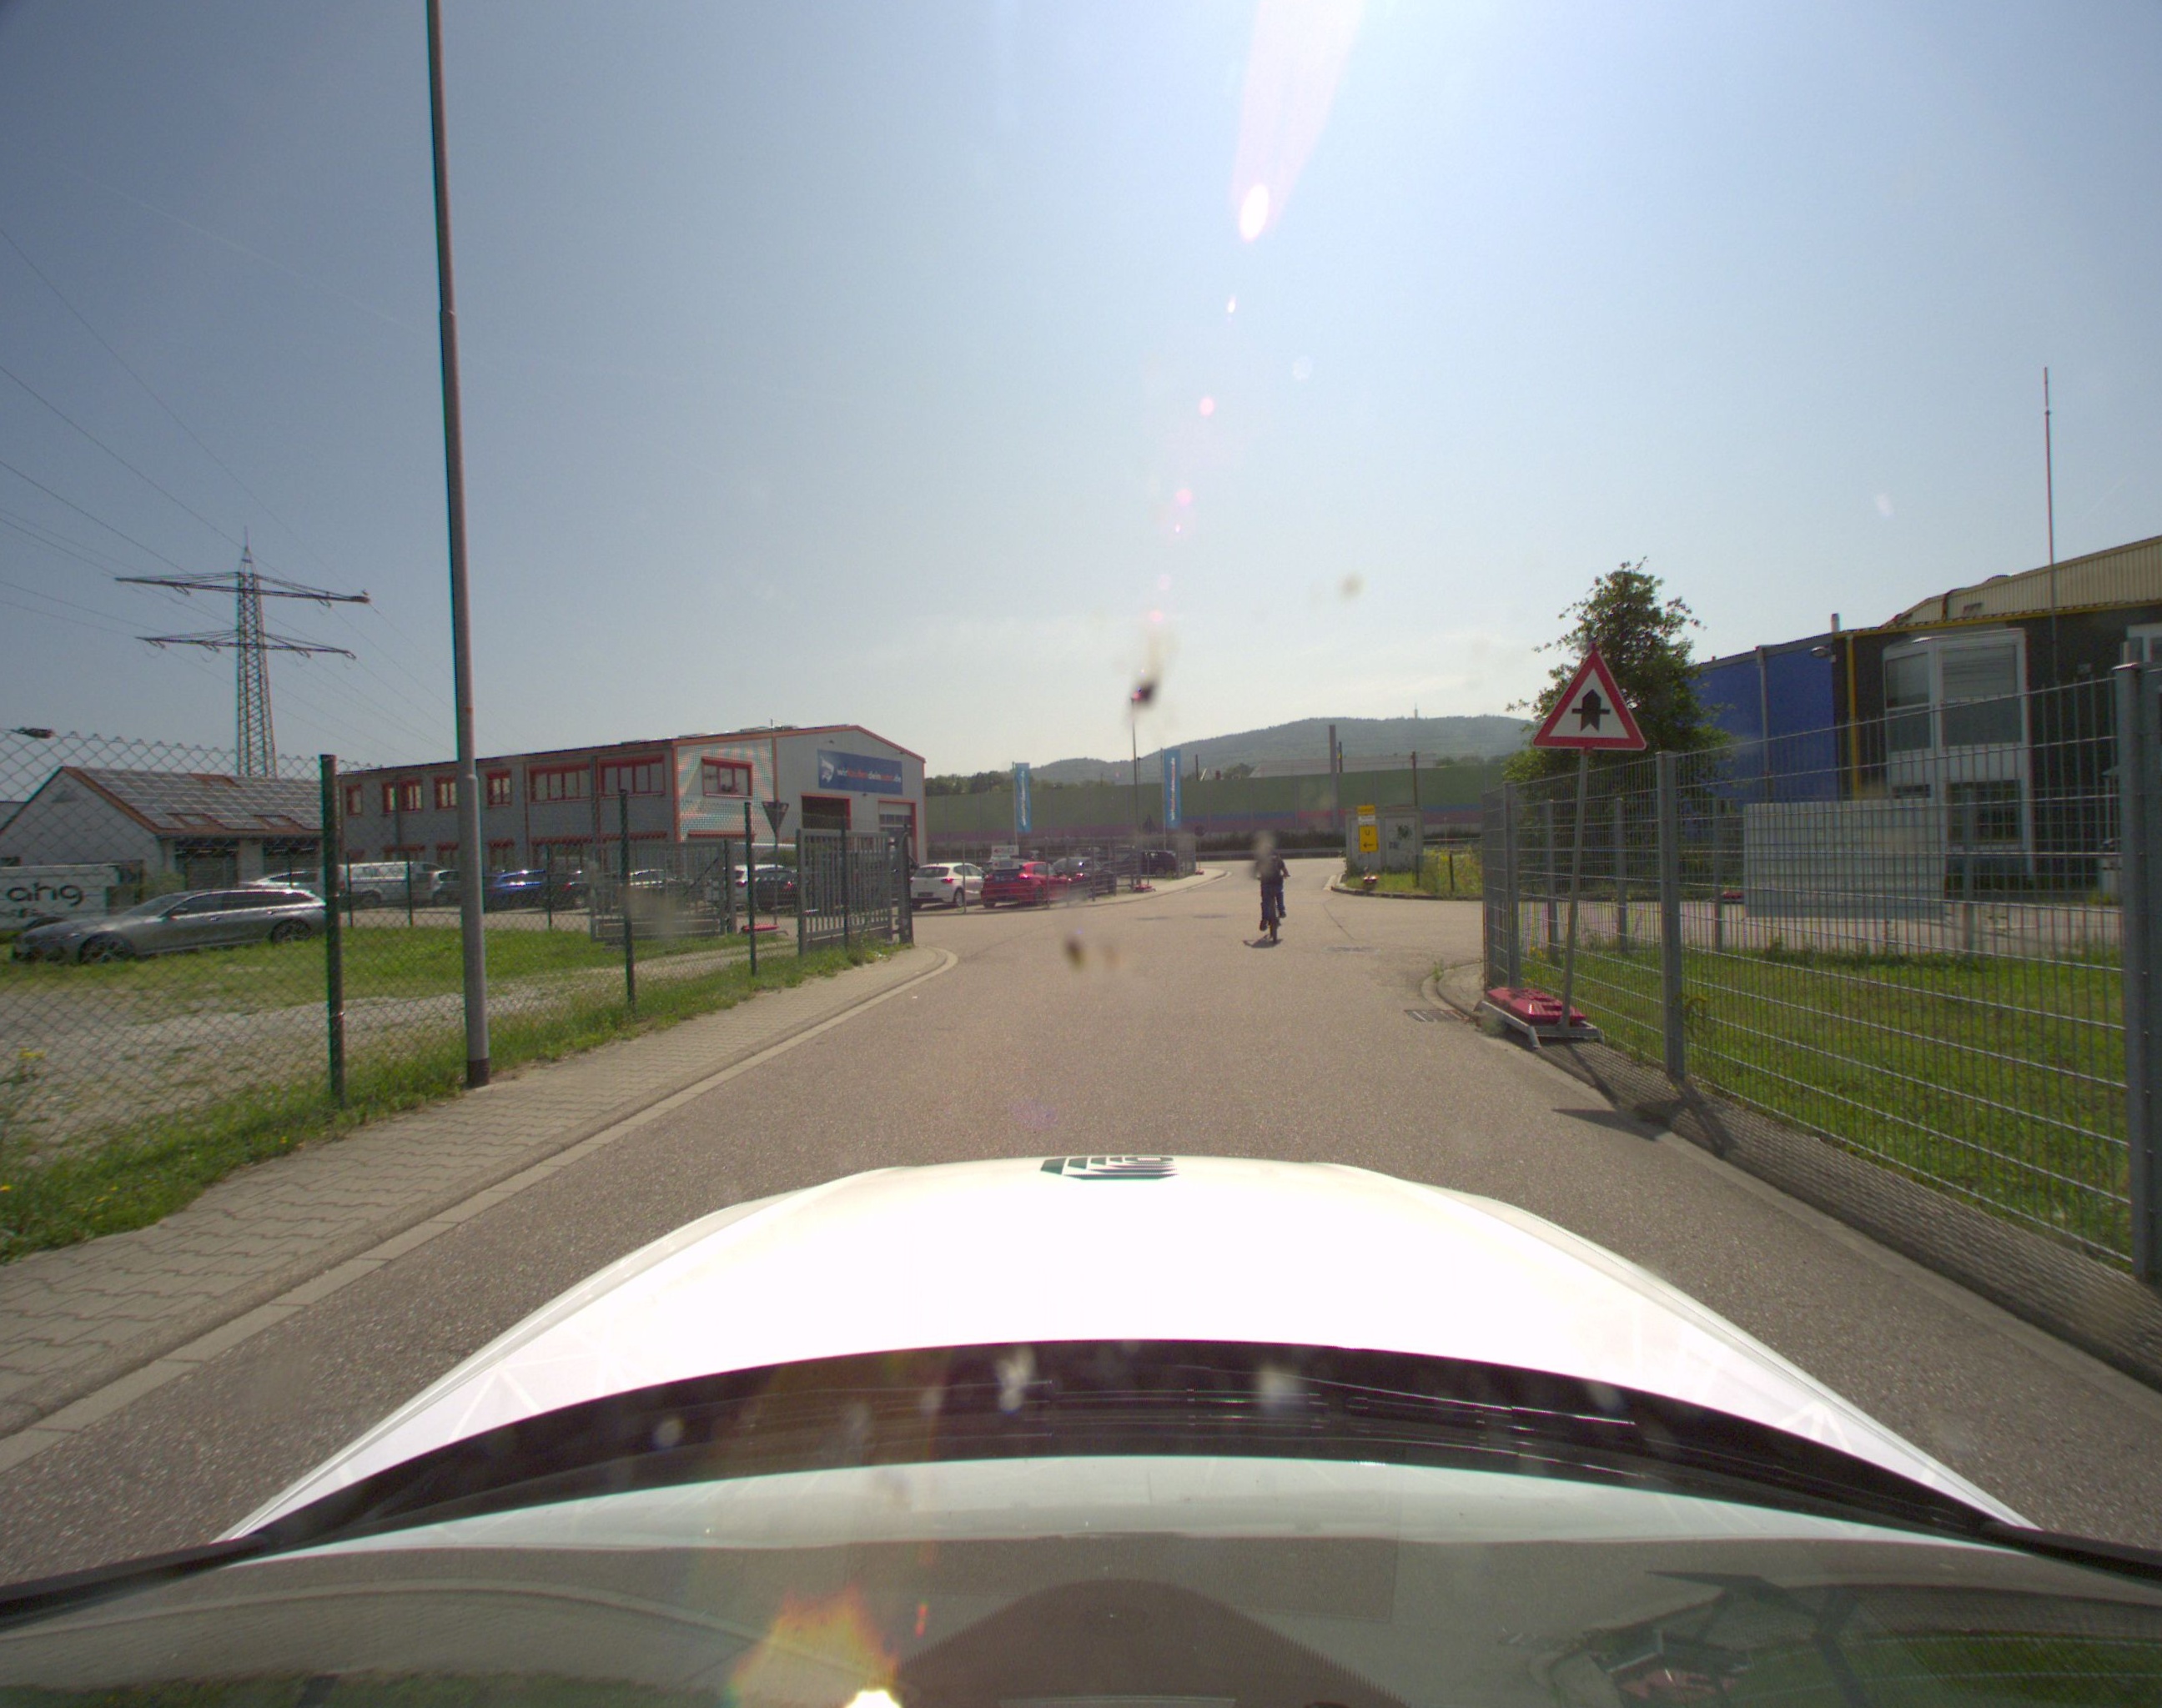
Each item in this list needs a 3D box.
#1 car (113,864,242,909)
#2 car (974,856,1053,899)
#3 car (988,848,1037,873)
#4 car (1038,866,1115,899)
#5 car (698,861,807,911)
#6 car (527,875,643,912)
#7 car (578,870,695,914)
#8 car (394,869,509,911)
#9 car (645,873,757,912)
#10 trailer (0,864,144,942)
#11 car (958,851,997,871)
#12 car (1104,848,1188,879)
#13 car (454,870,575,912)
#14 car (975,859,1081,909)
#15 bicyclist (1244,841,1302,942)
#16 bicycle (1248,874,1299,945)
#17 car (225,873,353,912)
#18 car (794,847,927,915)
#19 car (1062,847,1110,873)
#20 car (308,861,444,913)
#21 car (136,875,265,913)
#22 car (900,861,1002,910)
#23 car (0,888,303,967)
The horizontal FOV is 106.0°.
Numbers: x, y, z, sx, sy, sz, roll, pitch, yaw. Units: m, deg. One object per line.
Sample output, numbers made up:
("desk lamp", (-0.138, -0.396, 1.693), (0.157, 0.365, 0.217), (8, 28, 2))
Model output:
("car", (-44.475, 1.568, 40.193), (1.490, 2.014, 3.927), (-2, 0, 20))
("car", (-2.516, 0.856, 31.368), (1.471, 1.454, 3.914), (-2, 0, 20))
("car", (-4.817, 0.443, 58.092), (1.977, 1.581, 4.019), (-2, 0, 19))
("car", (-0.088, 1.041, 30.710), (1.471, 1.007, 4.134), (-2, 0, 20))
("car", (-11.600, 1.102, 28.964), (1.490, 1.540, 3.622), (-2, 0, 20))
("car", (-18.959, 1.482, 31.295), (1.490, 1.151, 3.622), (-2, 0, 20))
("car", (-16.206, 1.351, 29.884), (1.490, 1.381, 3.622), (-2, 0, 20))
("car", (-26.832, 1.506, 34.854), (1.490, 1.544, 3.622), (-2, 0, 20))
("car", (-13.557, 1.355, 29.267), (1.490, 1.151, 3.622), (-2, 0, 20))
("trailer", (-28.732, 1.327, 21.879), (1.692, 1.945, 4.491), (-2, 0, 36))
("car", (-9.314, 0.653, 73.565), (1.684, 1.657, 4.021), (-2, 0, 22))
("car", (3.486, 0.491, 43.291), (3.951, 1.492, 2.011), (-2, 0, 24))
("car", (-21.858, 1.398, 31.586), (1.490, 1.416, 3.622), (-2, 0, 20))
("car", (-1.616, 0.928, 26.360), (1.854, 1.386, 4.134), (-2, 0, 20))
("bicyclist", (3.207, 0.620, 13.682), (0.837, 1.618, 1.042), (-1, -1, 9))
("bicycle", (3.217, 0.900, 13.730), (0.681, 1.051, 1.906), (-2, 0, 10))
("car", (-36.333, 1.739, 37.480), (1.490, 1.516, 3.927), (-2, 0, 20))
("car", (-7.224, 0.827, 27.242), (1.934, 2.030, 4.541), (-2, 0, 20))
("car", (0.381, 0.381, 55.172), (1.977, 1.581, 4.019), (-2, 0, 19))
("car", (-29.889, 1.343, 34.656), (1.802, 1.978, 3.927), (-2, 0, 20))
("car", (-42.565, 1.902, 39.490), (1.490, 1.560, 3.927), (-2, 0, 20))
("car", (-4.244, 1.001, 27.088), (1.731, 1.404, 3.622), (-2, 0, 20))
("car", (-19.659, 1.481, 17.464), (1.221, 1.261, 4.163), (-2, 0, 20))
